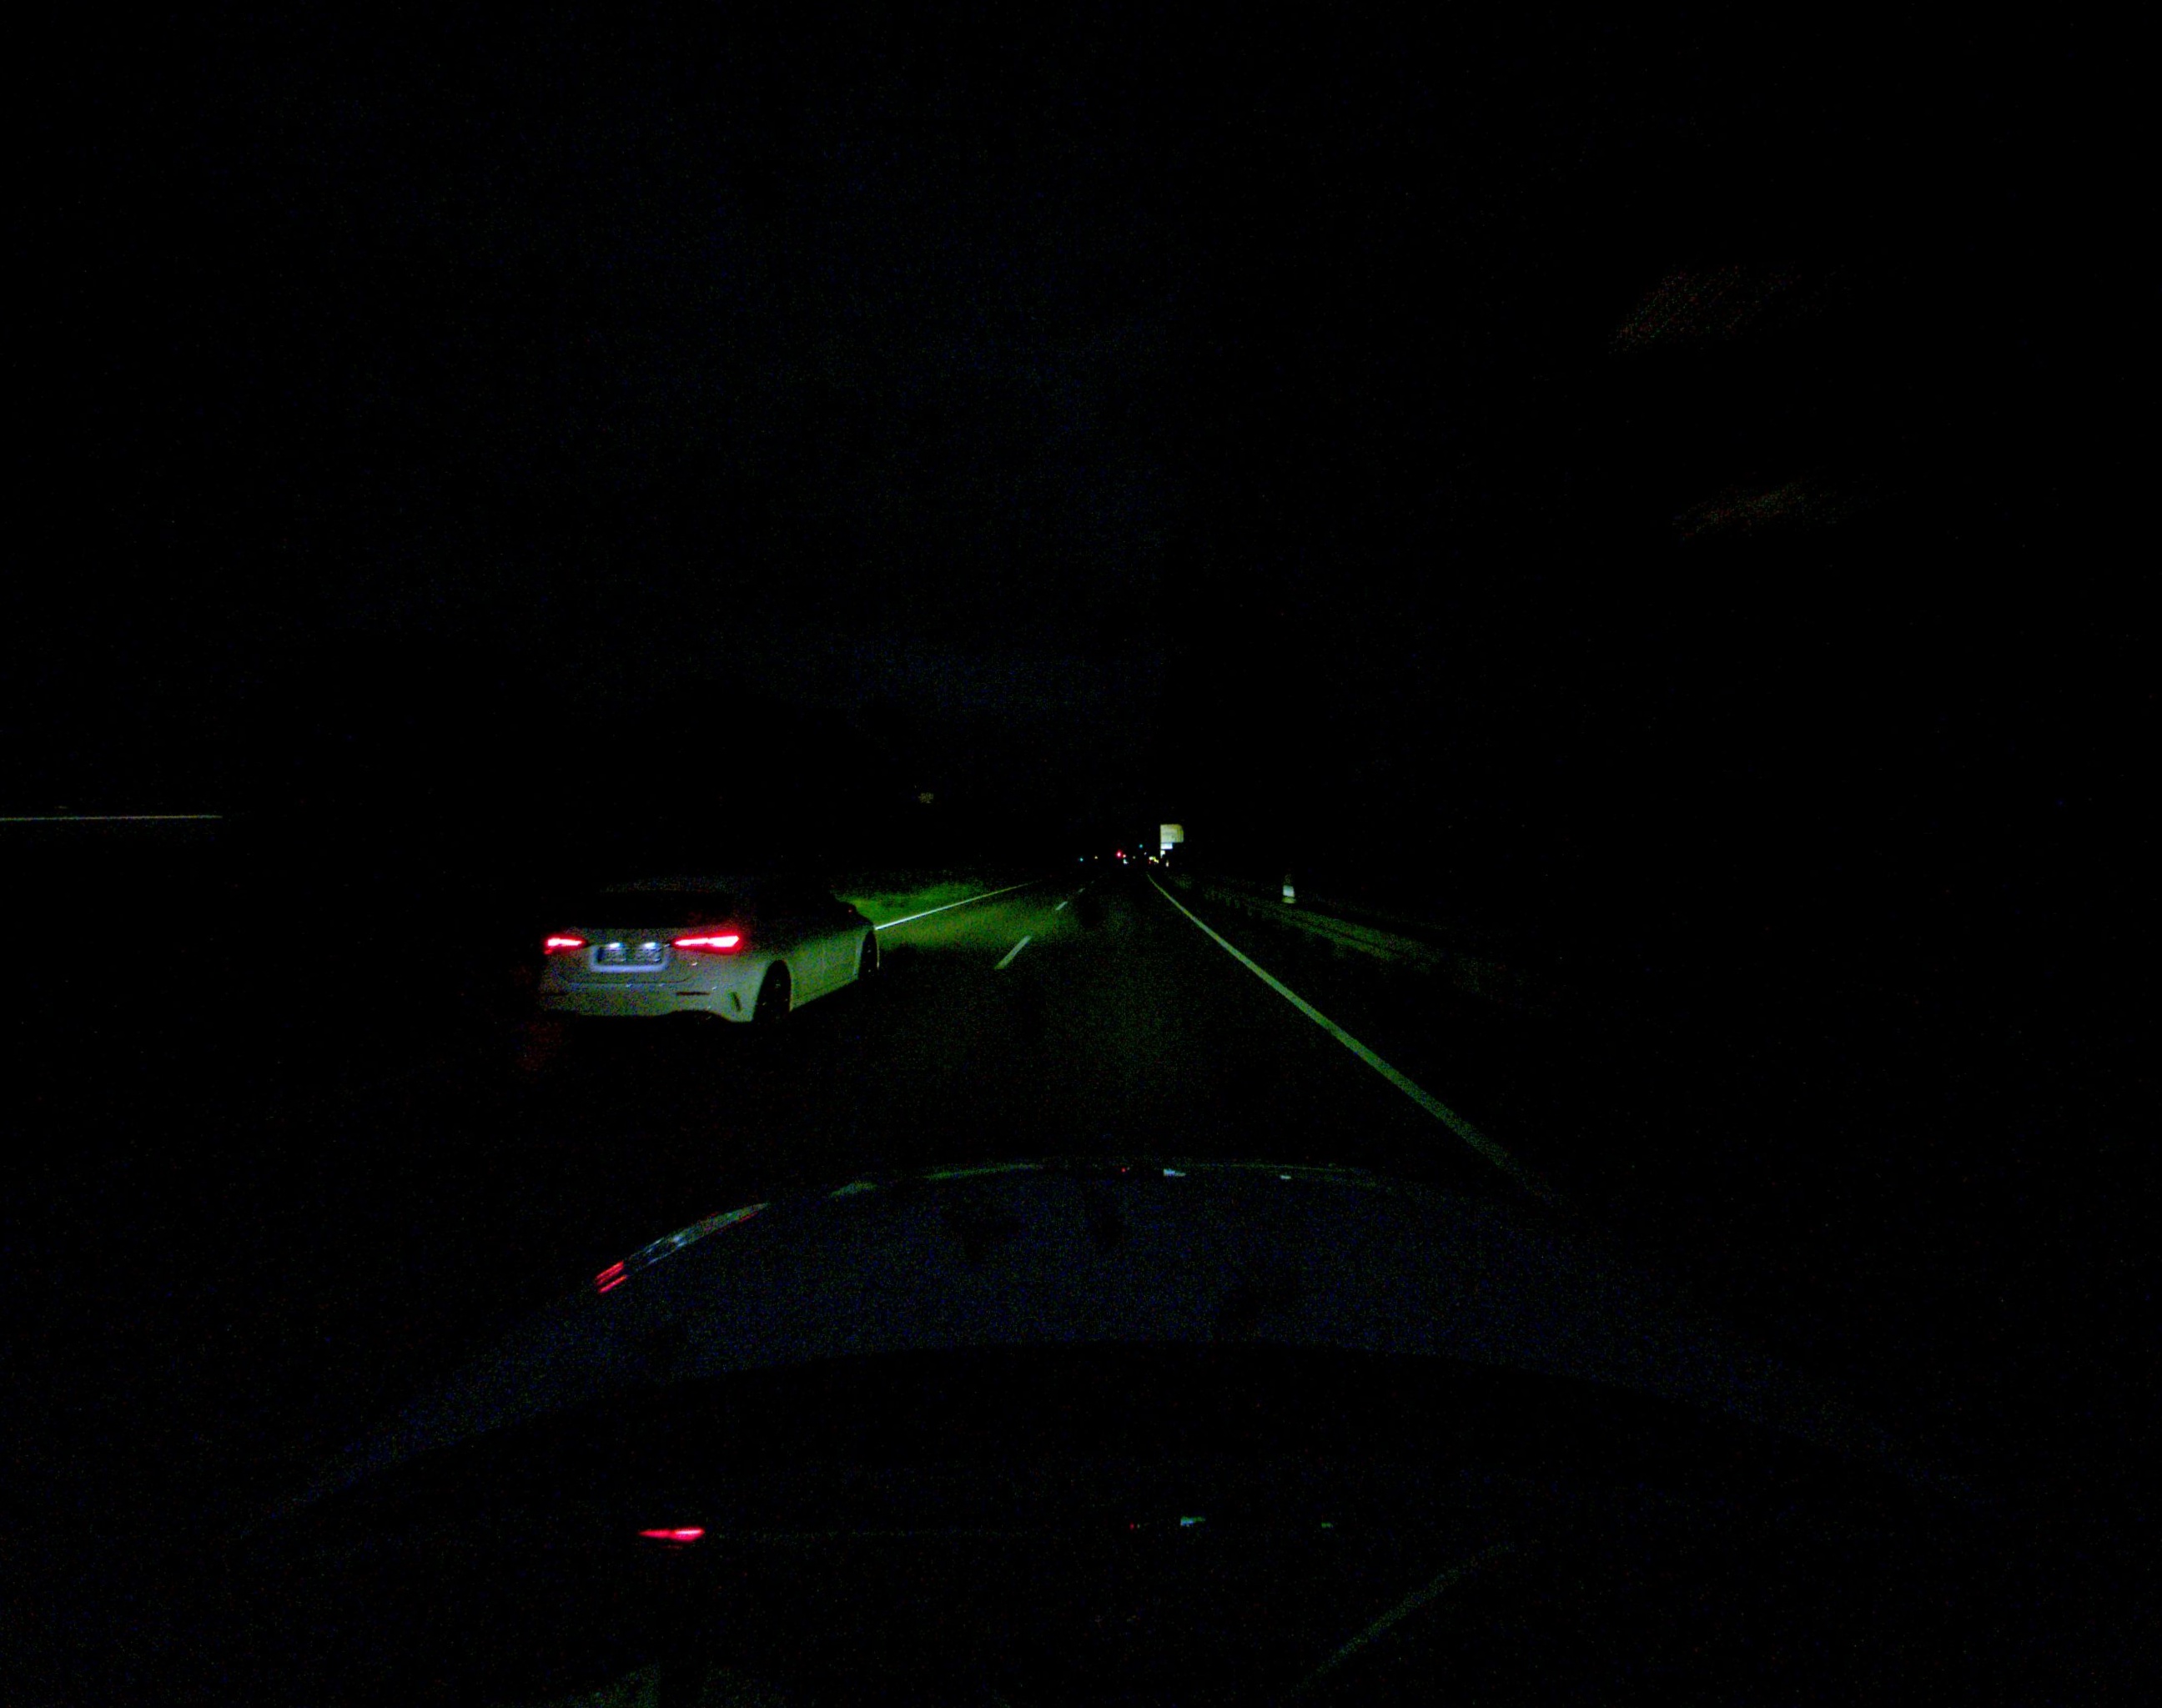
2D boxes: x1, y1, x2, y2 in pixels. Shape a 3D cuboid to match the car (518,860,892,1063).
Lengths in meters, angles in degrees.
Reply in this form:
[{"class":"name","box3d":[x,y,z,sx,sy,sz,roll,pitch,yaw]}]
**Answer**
[{"class":"car","box3d":[-3.331,0.814,8.348,1.636,1.490,4.580,-1,0,1]}]
